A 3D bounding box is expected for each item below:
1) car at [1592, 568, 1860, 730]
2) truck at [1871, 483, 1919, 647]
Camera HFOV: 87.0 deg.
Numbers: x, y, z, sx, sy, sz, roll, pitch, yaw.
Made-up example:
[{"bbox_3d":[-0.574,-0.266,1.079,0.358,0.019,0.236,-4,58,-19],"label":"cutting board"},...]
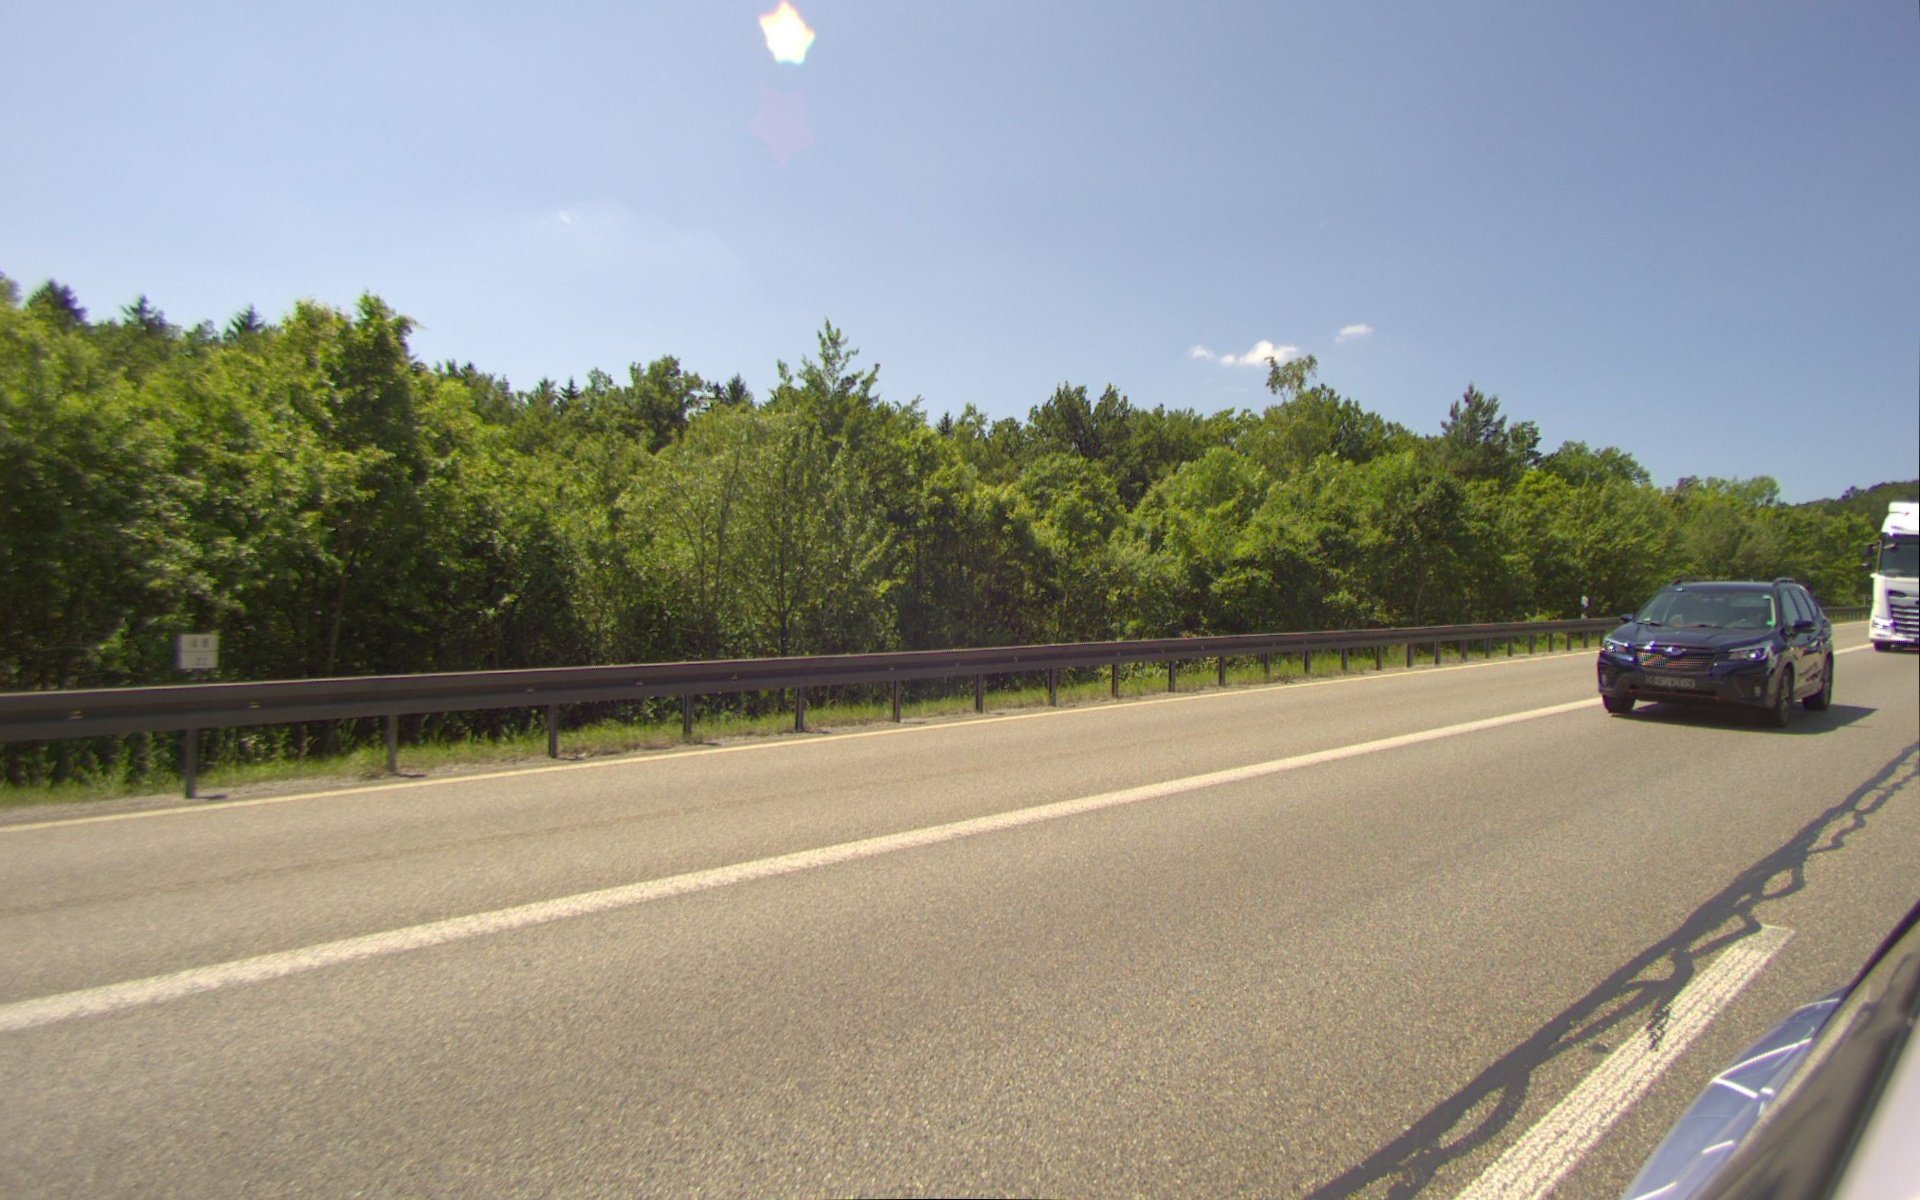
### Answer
[{"bbox_3d":[9.834,0.485,12.880,4.129,1.688,1.816,-1,3,-40],"label":"car"},{"bbox_3d":[31.056,-0.895,30.761,15.980,4.220,2.789,0,2,-40],"label":"truck"}]
